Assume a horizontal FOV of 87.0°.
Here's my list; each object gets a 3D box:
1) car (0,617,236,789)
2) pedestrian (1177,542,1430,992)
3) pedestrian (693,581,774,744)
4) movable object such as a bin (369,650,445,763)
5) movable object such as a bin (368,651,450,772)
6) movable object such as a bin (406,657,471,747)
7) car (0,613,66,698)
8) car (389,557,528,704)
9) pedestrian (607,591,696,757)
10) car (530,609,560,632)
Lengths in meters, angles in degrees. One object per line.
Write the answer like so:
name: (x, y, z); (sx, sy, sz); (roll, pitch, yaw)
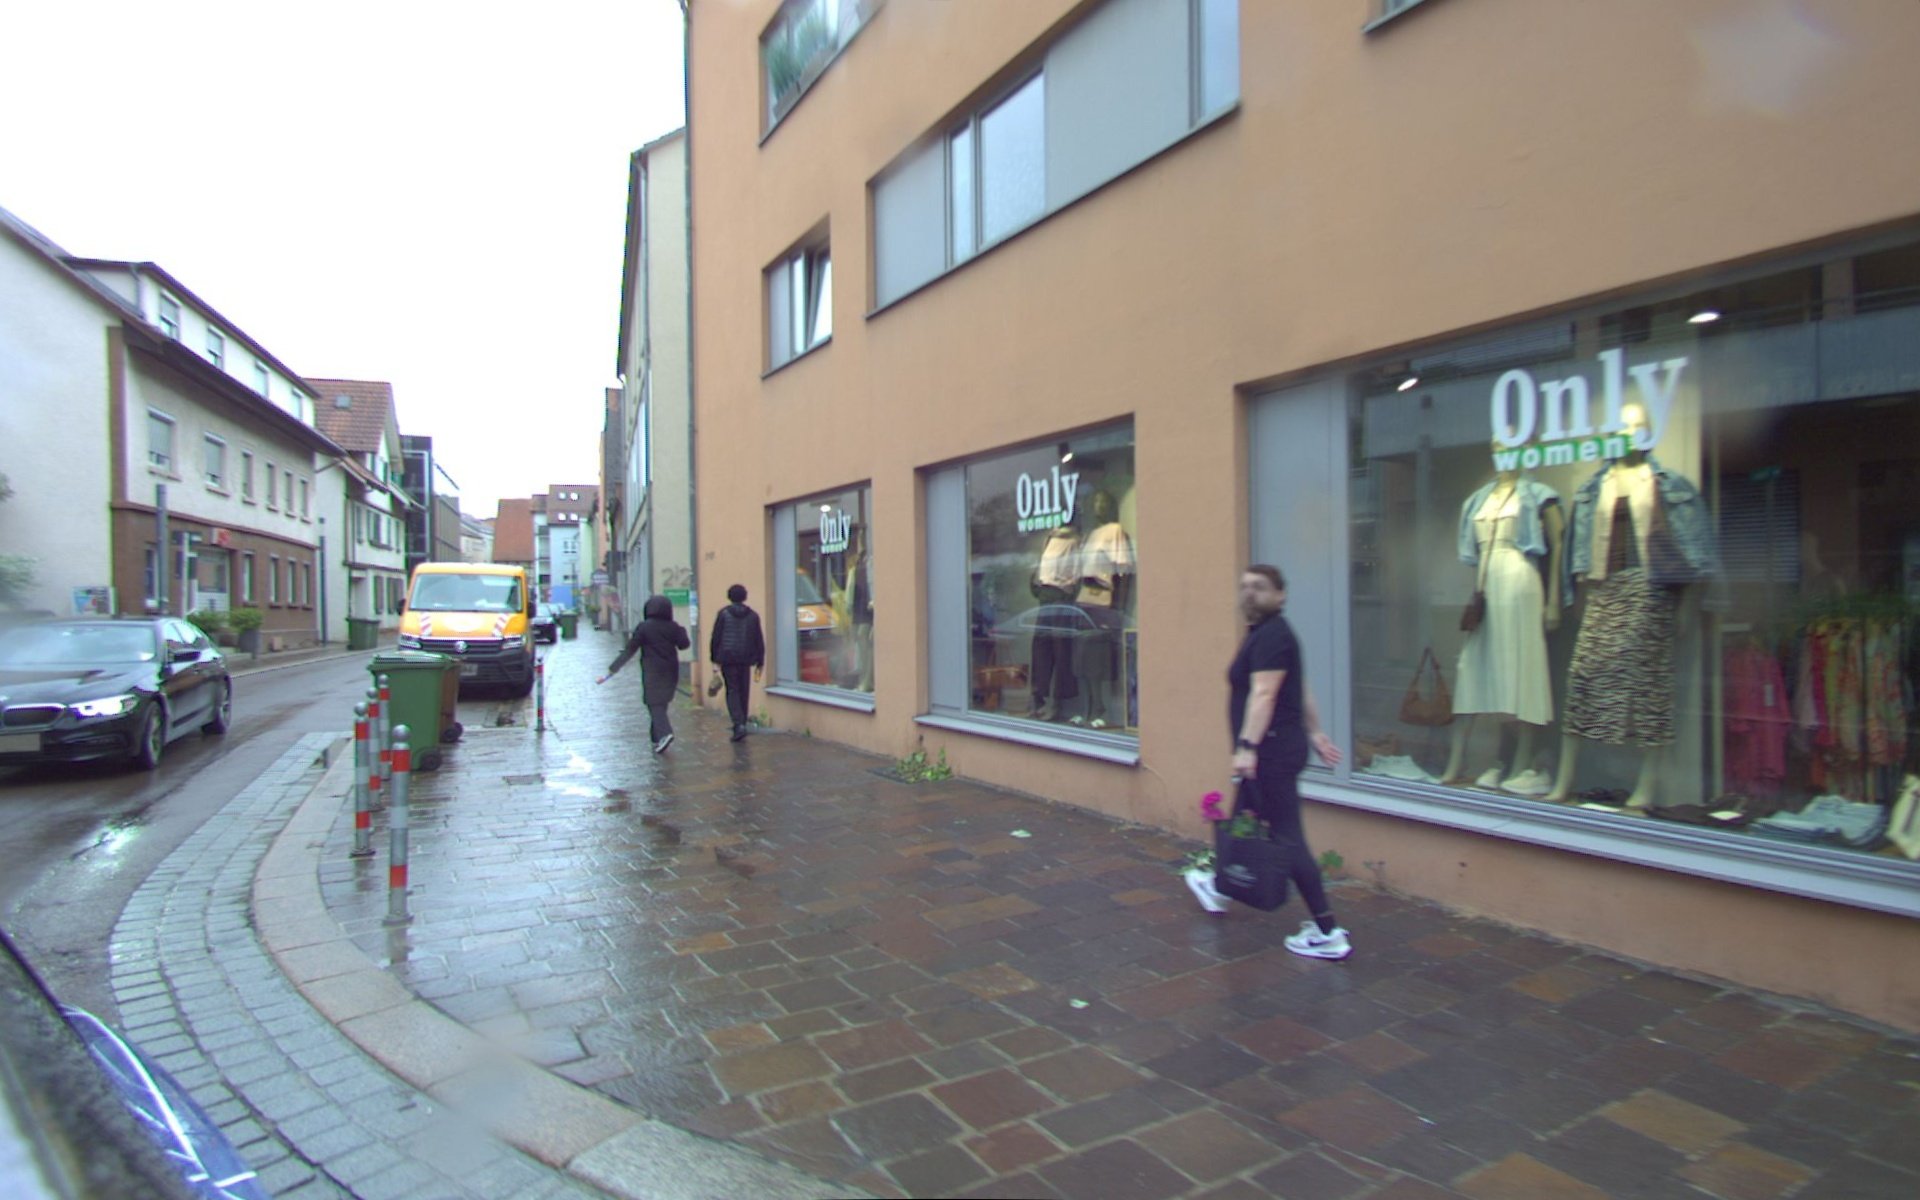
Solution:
car: (-9.147, 0.909, 10.503); (1.915, 1.413, 4.434); (-1, 0, -26)
pedestrian: (1.378, 0.602, 4.112); (0.650, 1.622, 0.686); (0, -1, -32)
pedestrian: (-2.532, 0.666, 11.276); (0.614, 1.725, 0.811); (-2, 0, -29)
movable object such as a bin: (-5.555, 1.047, 10.161); (0.647, 1.044, 0.612); (0, -1, -31)
movable object such as a bin: (-5.187, 1.023, 9.517); (0.647, 1.044, 0.612); (0, 0, -31)
movable object such as a bin: (-5.817, 1.125, 11.314); (0.573, 0.934, 0.483); (-2, 0, -21)
car: (-16.863, 0.917, 17.671); (1.713, 1.367, 3.940); (0, -1, -44)
car: (-9.014, 0.491, 18.615); (1.965, 2.256, 5.880); (0, 0, -23)
pedestrian: (-3.253, 0.746, 10.655); (0.705, 1.652, 0.748); (-2, 0, -29)
car: (-25.947, 1.256, 63.344); (1.605, 1.377, 3.500); (-1, -1, -20)
